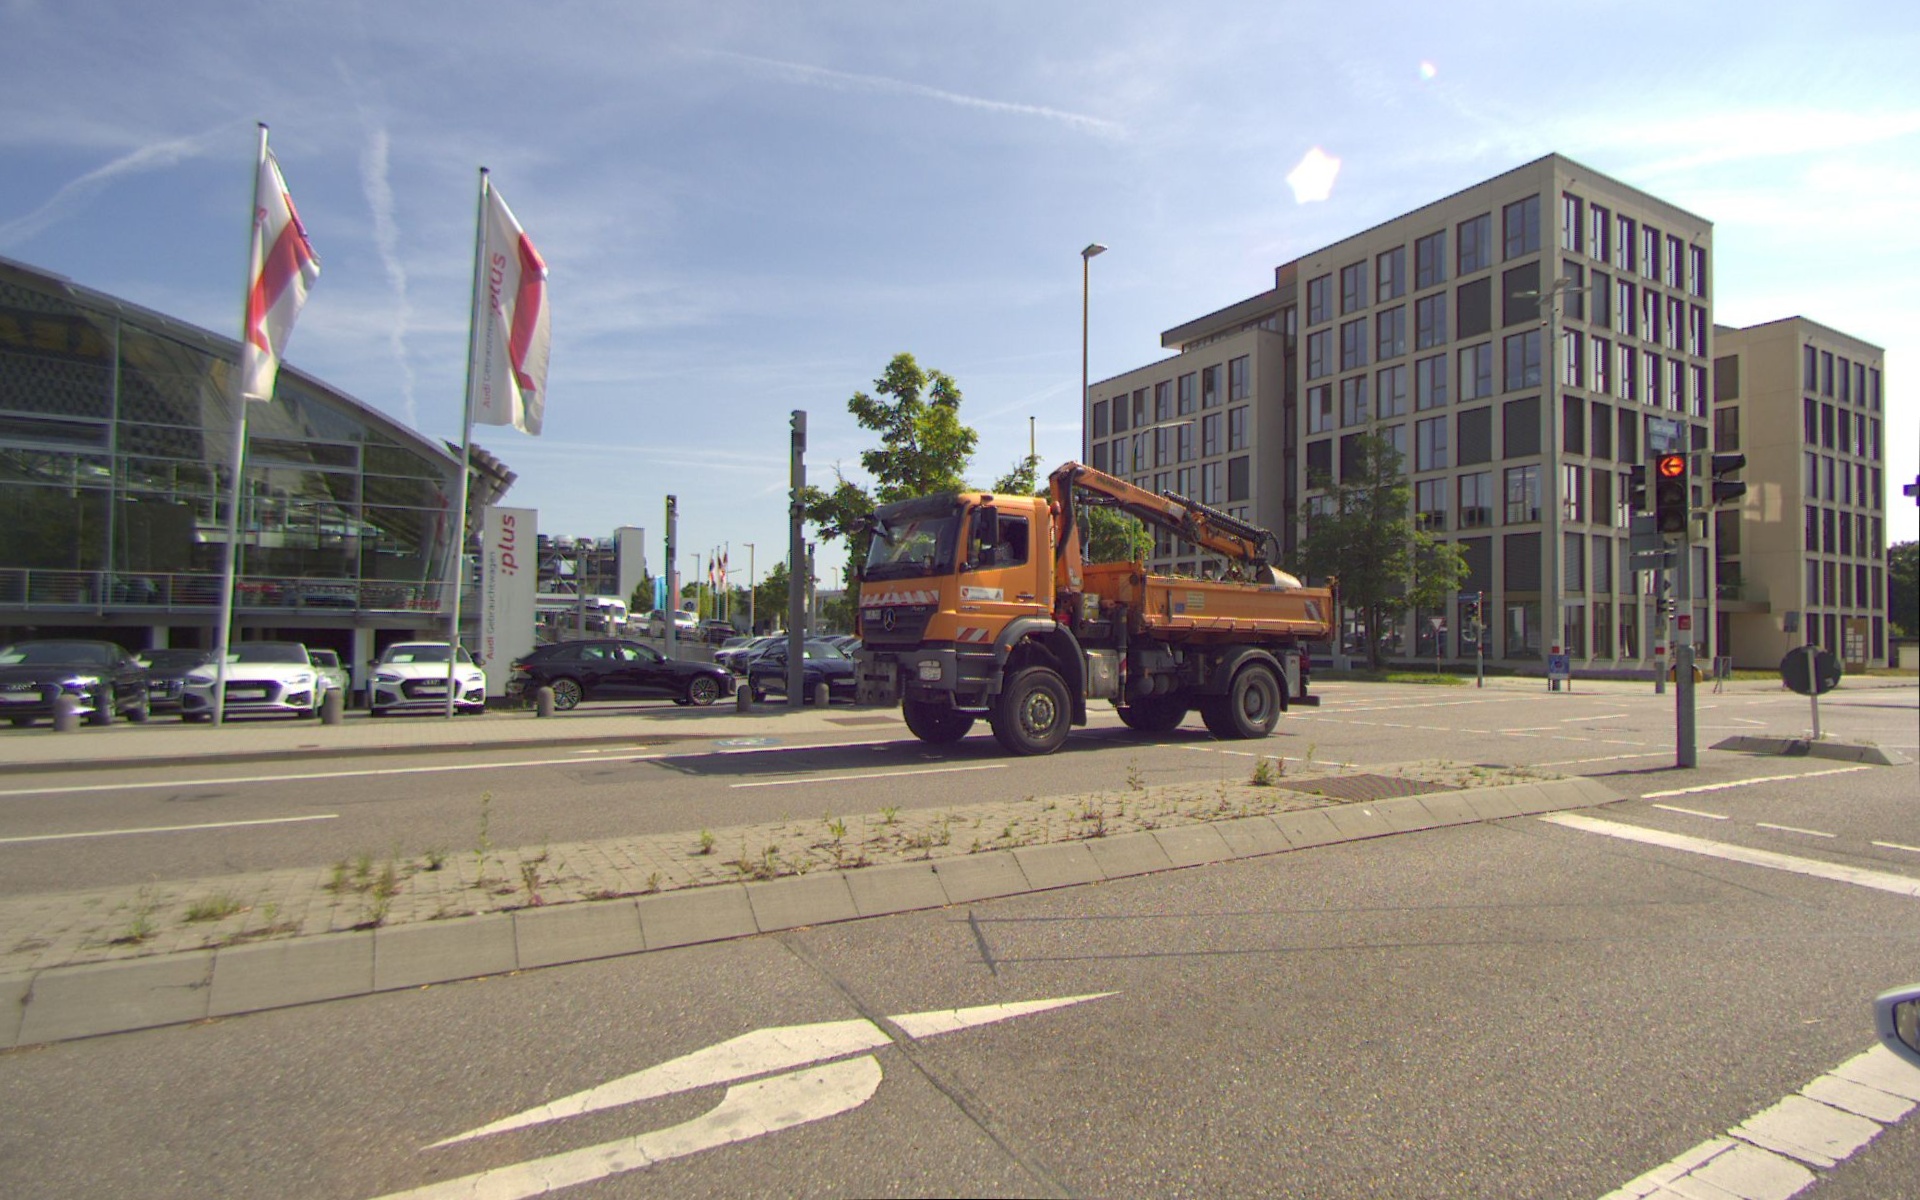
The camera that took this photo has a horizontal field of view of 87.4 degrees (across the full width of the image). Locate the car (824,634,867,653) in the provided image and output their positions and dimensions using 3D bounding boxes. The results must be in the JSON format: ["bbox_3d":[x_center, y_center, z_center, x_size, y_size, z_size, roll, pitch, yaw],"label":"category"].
[{"bbox_3d":[-12.255,4.676,107.526,4.189,1.965,1.885,2,-2,-30],"label":"car"}]

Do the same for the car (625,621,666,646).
[{"bbox_3d":[-21.569,2.263,68.799,1.976,1.595,3.956,2,-1,-29],"label":"car"}]

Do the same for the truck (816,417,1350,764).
[{"bbox_3d":[1.995,0.040,14.040,7.502,3.728,2.730,2,-3,-34],"label":"truck"}]

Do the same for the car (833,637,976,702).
[{"bbox_3d":[-1.466,1.634,24.661,1.876,1.451,4.356,2,-3,-28],"label":"car"}]

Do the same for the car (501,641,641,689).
[{"bbox_3d":[-11.476,1.898,29.660,3.641,1.323,1.597,2,-3,-31],"label":"car"}]

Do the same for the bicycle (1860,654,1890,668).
[{"bbox_3d":[74.079,4.938,81.334,0.581,1.106,1.696,2,-2,-28],"label":"bicycle"}]

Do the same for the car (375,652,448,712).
[{"bbox_3d":[-15.474,2.242,28.263,1.641,1.492,3.490,2,-2,-31],"label":"car"}]

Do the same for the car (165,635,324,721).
[{"bbox_3d":[-12.477,1.383,17.773,1.846,1.336,3.970,2,-5,-30],"label":"car"}]

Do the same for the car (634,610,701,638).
[{"bbox_3d":[-23.040,1.918,79.217,4.698,2.040,1.983,2,-3,-32],"label":"car"}]

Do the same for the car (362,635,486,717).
[{"bbox_3d":[-10.230,1.446,19.100,1.856,1.387,4.055,2,-5,-30],"label":"car"}]

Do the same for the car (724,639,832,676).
[{"bbox_3d":[-8.018,2.501,44.408,4.351,1.461,1.779,-1,-1,-31],"label":"car"}]

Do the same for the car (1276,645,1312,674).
[{"bbox_3d":[17.825,3.140,53.734,1.772,1.434,4.032,0,-2,18],"label":"car"}]

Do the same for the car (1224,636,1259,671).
[{"bbox_3d":[15.959,2.998,56.900,1.860,1.845,4.816,0,-2,16],"label":"car"}]

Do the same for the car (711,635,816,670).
[{"bbox_3d":[-9.140,2.408,46.888,4.506,1.461,1.779,0,-2,-31],"label":"car"}]

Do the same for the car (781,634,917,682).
[{"bbox_3d":[-4.092,2.110,37.287,4.722,1.525,1.779,-1,-1,-31],"label":"car"}]

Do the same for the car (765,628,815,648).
[{"bbox_3d":[-21.694,4.802,127.999,5.828,2.463,2.360,2,-2,-27],"label":"car"}]

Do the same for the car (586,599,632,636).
[{"bbox_3d":[-23.685,1.187,67.663,2.063,2.373,5.509,1,-1,-29],"label":"car"}]

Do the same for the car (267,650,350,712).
[{"bbox_3d":[-17.449,2.112,27.007,1.647,1.492,3.491,2,-2,-30],"label":"car"}]

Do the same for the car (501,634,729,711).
[{"bbox_3d":[-7.367,1.508,21.570,4.373,1.515,1.789,2,-2,-30],"label":"car"}]

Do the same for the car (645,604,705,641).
[{"bbox_3d":[-16.706,1.295,58.728,2.066,1.932,4.508,6,-4,-31],"label":"car"}]

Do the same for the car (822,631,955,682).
[{"bbox_3d":[-2.504,1.952,35.295,4.325,1.564,1.779,-1,-1,-31],"label":"car"}]

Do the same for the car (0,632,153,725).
[{"bbox_3d":[-14.727,1.281,16.288,1.815,1.336,3.972,2,-5,-29],"label":"car"}]

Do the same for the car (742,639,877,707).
[{"bbox_3d":[-3.544,1.617,23.125,1.744,1.421,3.815,2,-3,-31],"label":"car"}]

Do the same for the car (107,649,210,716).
[{"bbox_3d":[-20.163,2.018,25.386,1.506,1.492,3.490,2,-2,-31],"label":"car"}]
